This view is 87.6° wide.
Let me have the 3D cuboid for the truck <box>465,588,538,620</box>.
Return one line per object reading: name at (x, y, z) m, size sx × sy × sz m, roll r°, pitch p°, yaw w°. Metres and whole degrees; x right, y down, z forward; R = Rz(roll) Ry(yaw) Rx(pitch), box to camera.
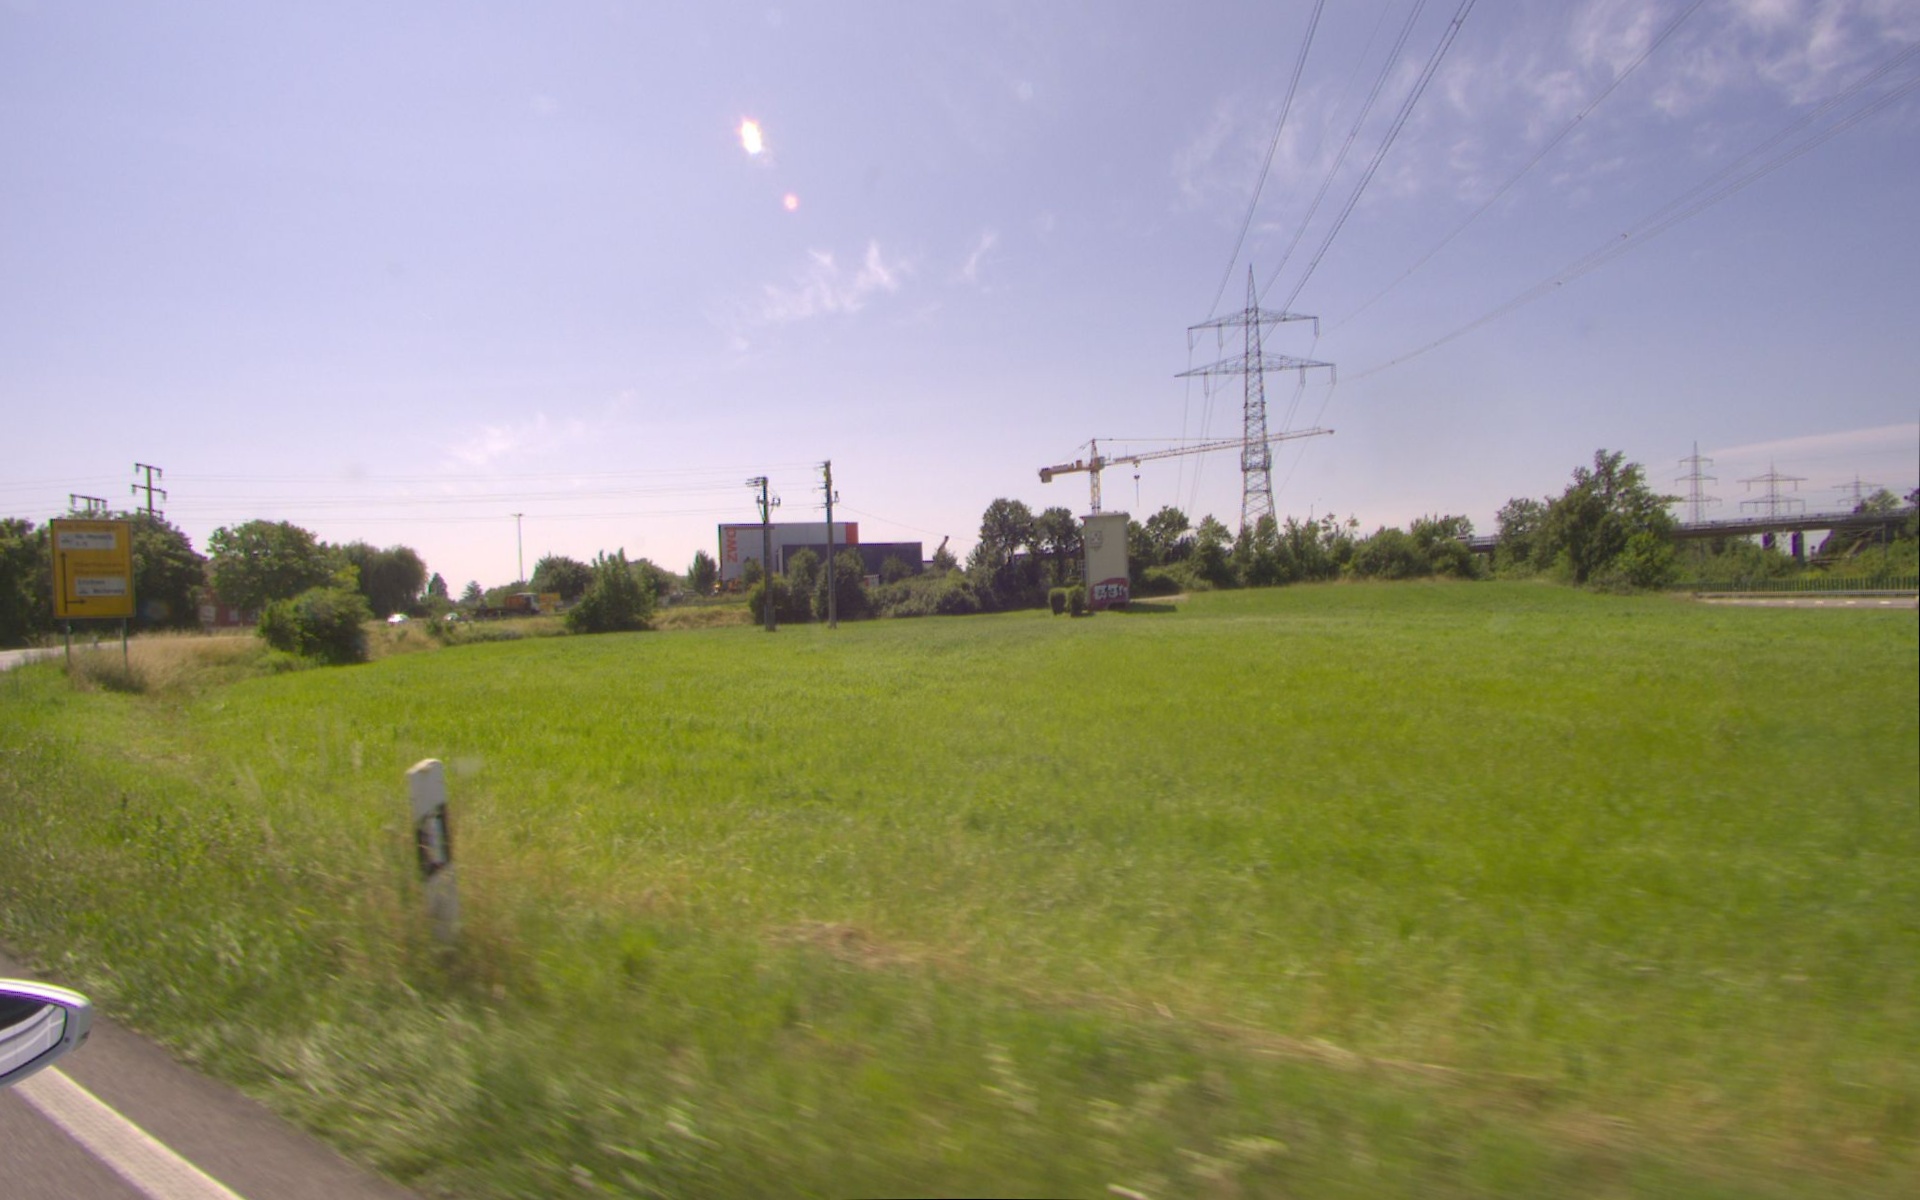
truck at (-50.387, 0.539, 110.361) m, size 3.049 × 3.176 × 8.805 m, roll -1°, pitch -2°, yaw 7°
